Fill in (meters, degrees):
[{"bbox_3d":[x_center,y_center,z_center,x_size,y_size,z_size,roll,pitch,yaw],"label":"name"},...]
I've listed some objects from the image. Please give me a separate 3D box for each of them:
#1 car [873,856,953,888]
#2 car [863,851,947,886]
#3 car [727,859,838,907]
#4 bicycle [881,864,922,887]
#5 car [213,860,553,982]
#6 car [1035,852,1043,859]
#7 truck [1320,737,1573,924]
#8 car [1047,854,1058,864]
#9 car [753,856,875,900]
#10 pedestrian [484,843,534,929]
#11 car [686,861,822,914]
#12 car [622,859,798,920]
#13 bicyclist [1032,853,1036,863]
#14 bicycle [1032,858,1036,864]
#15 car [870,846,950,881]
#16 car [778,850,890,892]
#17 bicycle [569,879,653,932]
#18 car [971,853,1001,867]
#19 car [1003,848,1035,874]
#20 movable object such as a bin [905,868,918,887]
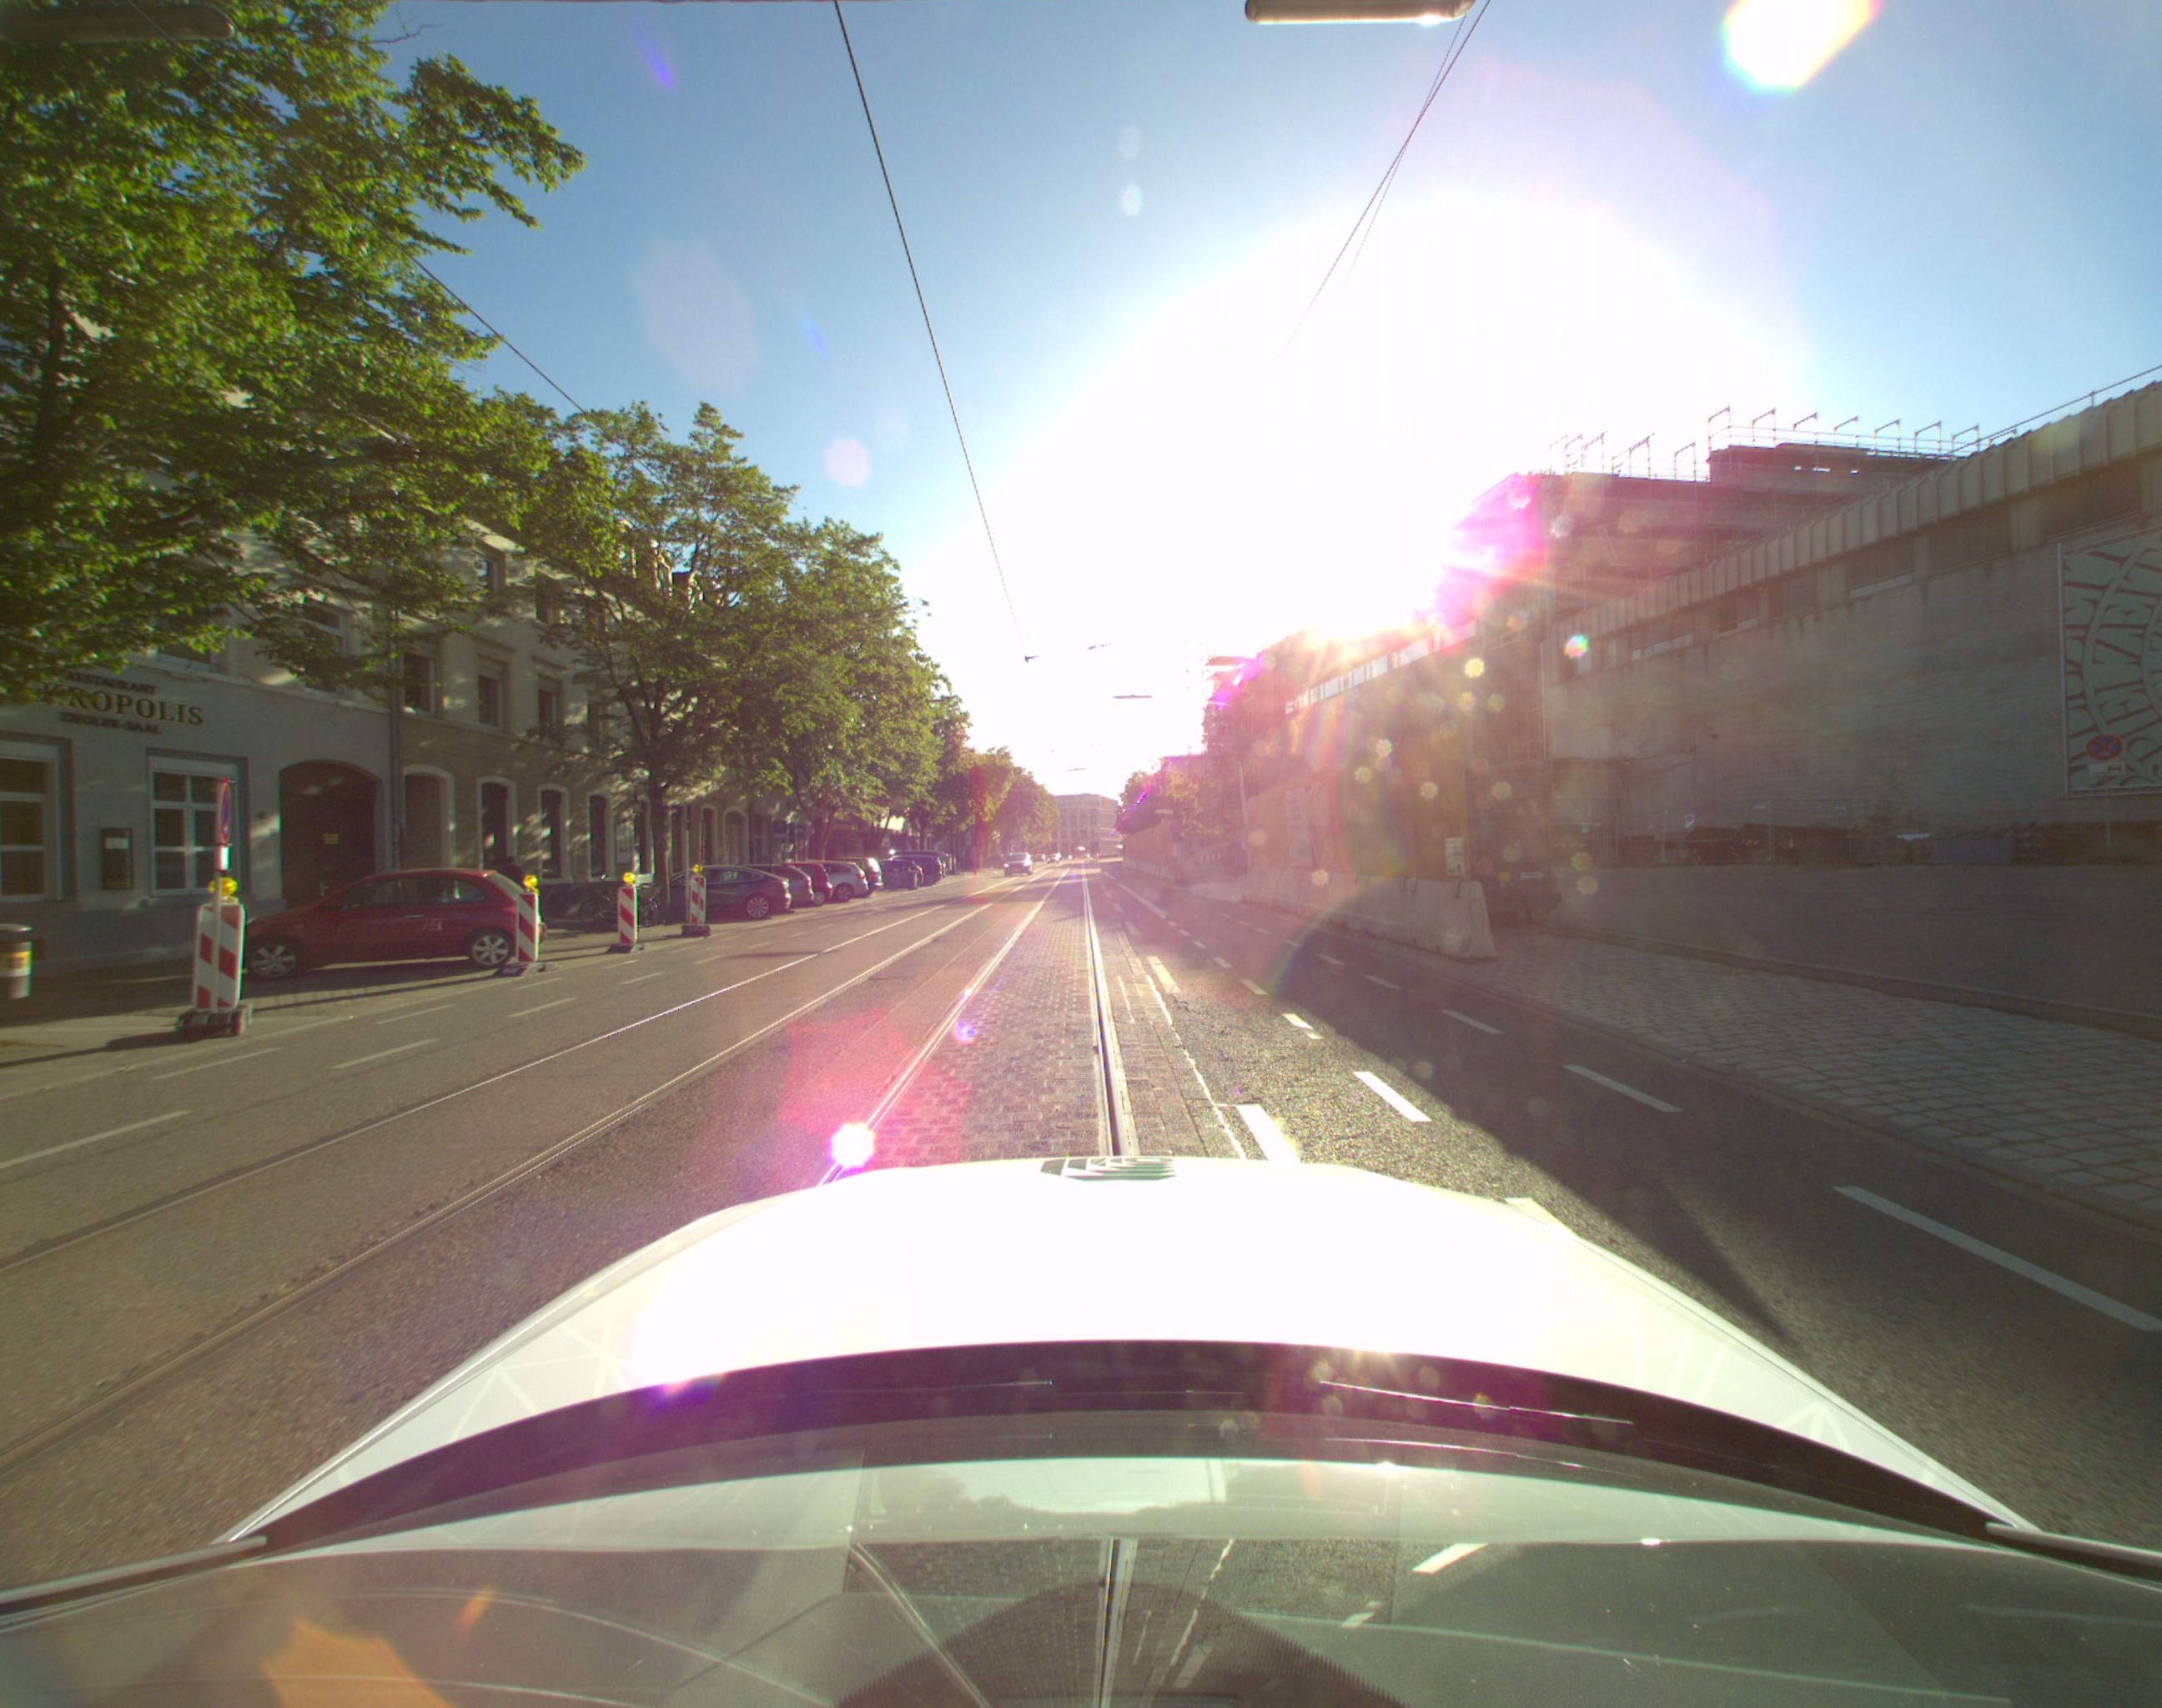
[{"bbox_3d":[-8.777,0.918,42.487,3.867,1.476,1.832,-3,1,-18],"label":"car"},{"bbox_3d":[-9.752,0.784,45.093,4.251,1.685,1.798,-3,0,-21],"label":"car"},{"bbox_3d":[-10.146,0.950,27.709,3.382,1.493,1.598,0,1,-28],"label":"car"},{"bbox_3d":[-8.968,1.059,40.780,1.971,1.144,0.489,0,0,-19],"label":"bicycle"},{"bbox_3d":[-10.412,0.915,12.529,3.632,1.553,1.654,0,1,-26],"label":"car"},{"bbox_3d":[-8.838,0.320,171.456,1.567,1.490,4.000,-2,0,0],"label":"car"},{"bbox_3d":[6.879,-0.405,16.294,2.511,2.908,5.509,-5,0,1],"label":"truck"},{"bbox_3d":[-4.485,0.766,127.524,1.705,1.436,4.167,-2,0,-2],"label":"car"},{"bbox_3d":[-10.023,0.841,30.611,4.126,1.512,1.825,0,0,-27],"label":"car"},{"bbox_3d":[-13.894,0.765,19.792,0.728,2.013,0.556,-2,0,1],"label":"pedestrian"},{"bbox_3d":[-9.980,0.973,24.861,3.694,1.470,1.737,0,0,-29],"label":"car"},{"bbox_3d":[-10.070,0.901,22.262,4.212,1.491,1.926,0,0,-27],"label":"car"},{"bbox_3d":[-6.770,0.519,116.927,0.457,1.377,0.639,-2,0,-5],"label":"bicyclist"},{"bbox_3d":[-6.769,0.983,116.881,0.448,0.881,1.898,-2,0,-5],"label":"bicycle"},{"bbox_3d":[-9.991,0.544,47.568,4.371,1.986,1.935,0,0,-22],"label":"car"},{"bbox_3d":[-10.267,0.701,34.070,4.094,1.678,1.839,0,0,-3],"label":"car"},{"bbox_3d":[-10.876,1.169,18.888,1.603,1.095,0.329,-3,0,-45],"label":"bicycle"},{"bbox_3d":[-10.510,0.644,90.060,2.951,1.332,1.204,-3,0,-28],"label":"car"},{"bbox_3d":[-4.482,0.476,59.351,1.922,1.629,4.247,-4,1,-1],"label":"car"},{"bbox_3d":[-8.403,1.157,40.291,0.576,0.913,0.572,0,1,-16],"label":"movable object such as a bin"}]
